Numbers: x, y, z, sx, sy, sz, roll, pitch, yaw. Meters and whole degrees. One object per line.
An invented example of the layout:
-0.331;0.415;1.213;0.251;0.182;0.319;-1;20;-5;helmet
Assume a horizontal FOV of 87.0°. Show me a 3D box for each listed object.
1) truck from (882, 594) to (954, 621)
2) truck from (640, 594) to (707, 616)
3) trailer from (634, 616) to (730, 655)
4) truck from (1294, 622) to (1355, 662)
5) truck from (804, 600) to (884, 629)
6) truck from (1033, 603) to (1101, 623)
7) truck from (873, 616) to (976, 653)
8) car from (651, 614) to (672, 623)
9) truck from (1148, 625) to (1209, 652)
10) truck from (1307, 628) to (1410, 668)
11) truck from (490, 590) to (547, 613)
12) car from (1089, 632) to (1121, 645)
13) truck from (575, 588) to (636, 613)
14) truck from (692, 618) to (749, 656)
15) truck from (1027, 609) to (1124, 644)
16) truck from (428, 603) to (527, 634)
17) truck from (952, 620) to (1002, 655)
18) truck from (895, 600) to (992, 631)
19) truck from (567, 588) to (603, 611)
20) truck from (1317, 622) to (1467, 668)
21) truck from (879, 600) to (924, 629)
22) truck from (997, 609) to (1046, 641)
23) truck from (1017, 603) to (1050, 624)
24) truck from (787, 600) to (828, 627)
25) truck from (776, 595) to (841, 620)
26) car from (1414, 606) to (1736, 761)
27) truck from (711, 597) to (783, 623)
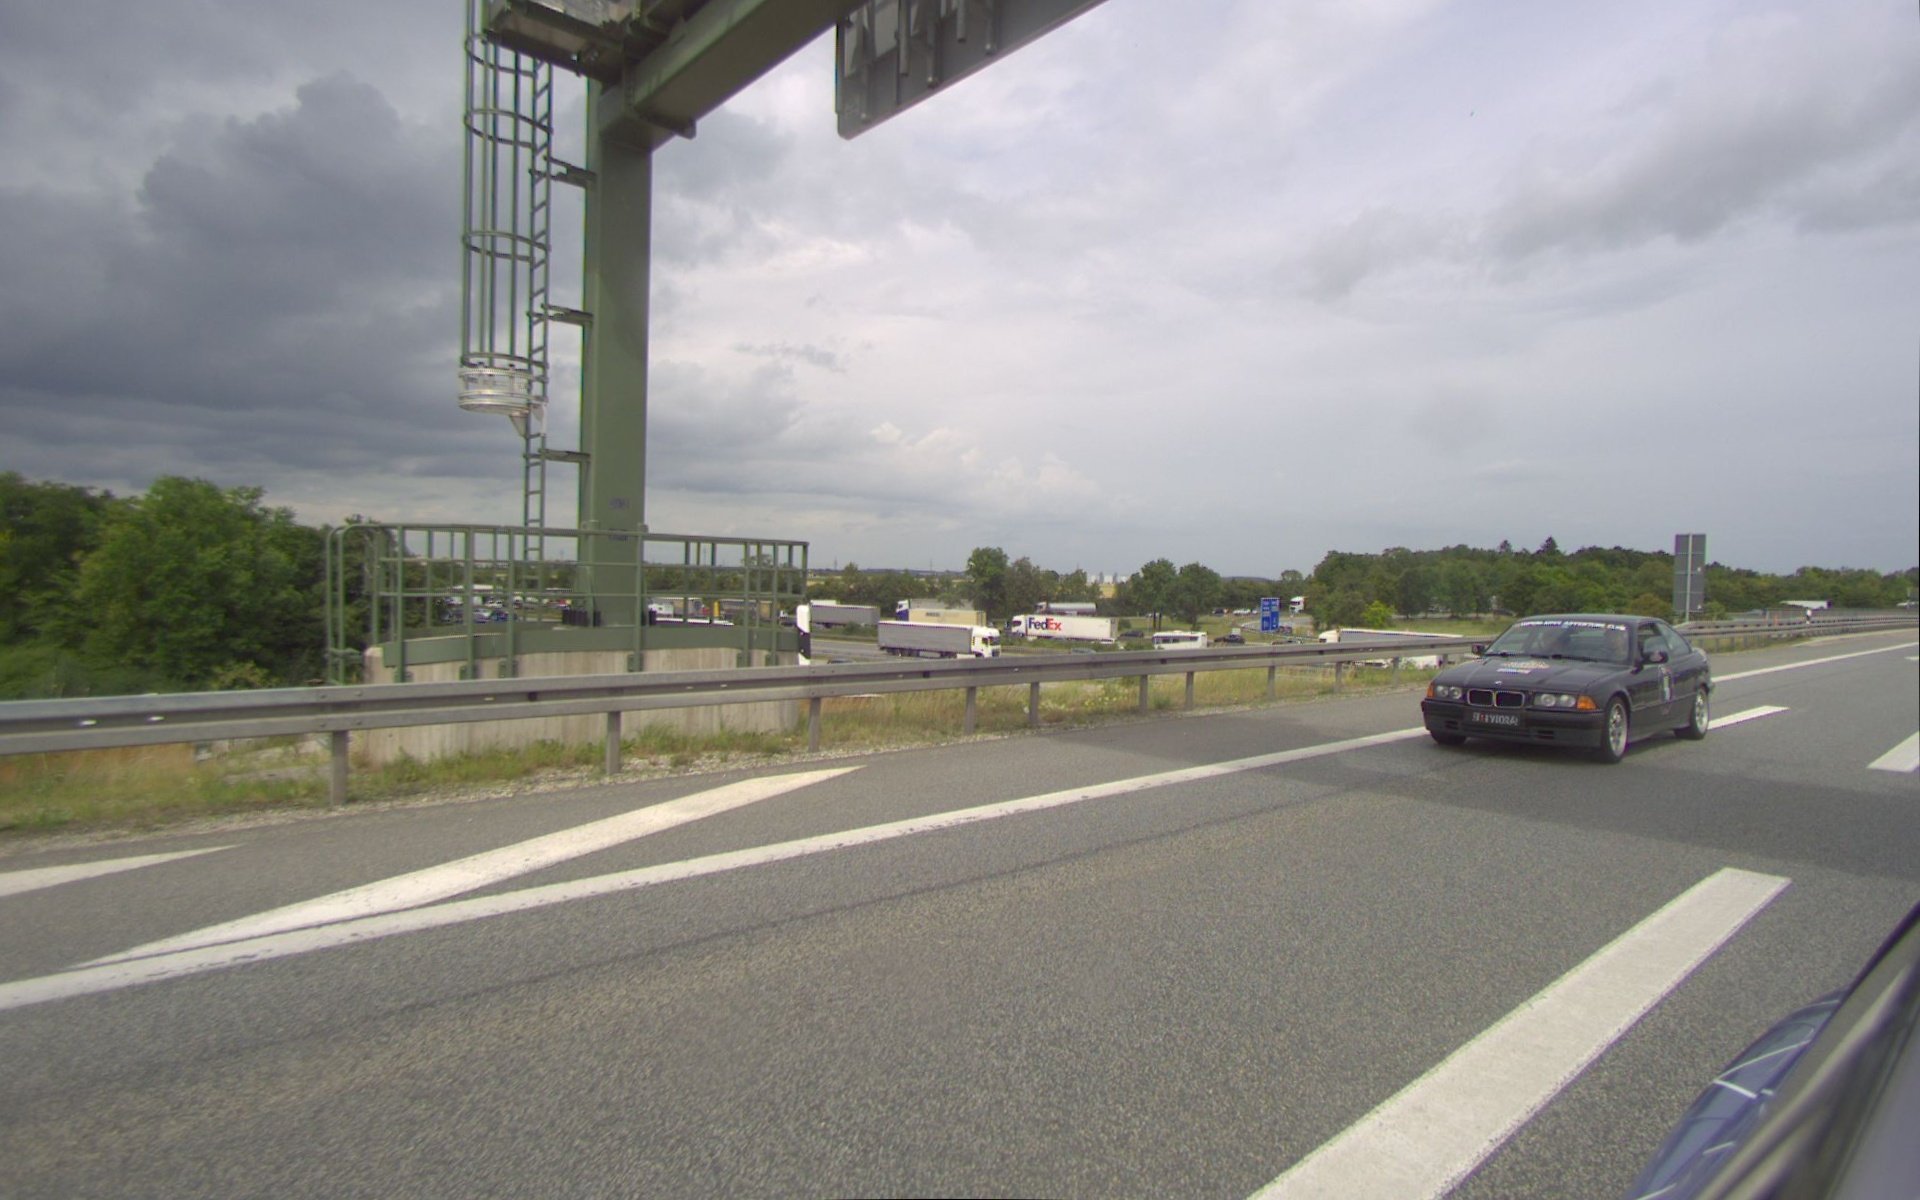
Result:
-8.610;1.626;209.158;14.570;5.281;3.862;1;-1;-1;truck
-55.658;0.941;196.418;14.800;4.083;4.090;1;-1;36;truck
-33.833;4.155;122.760;14.158;4.151;2.951;1;0;36;trailer
45.300;5.150;125.812;6.259;4.734;3.879;0;0;38;truck
-19.831;2.410;171.663;14.796;4.612;3.955;1;-1;37;truck
22.708;2.825;215.094;14.422;4.142;3.092;1;-1;-21;truck
-4.305;3.975;118.962;13.047;3.725;2.467;2;0;34;truck
-54.499;3.350;184.890;3.976;1.505;1.715;1;0;36;car
28.415;4.913;131.590;7.520;3.237;2.203;1;-1;36;truck
46.029;5.418;116.964;10.702;4.123;3.203;1;-1;33;truck
-97.185;0.260;222.409;15.250;4.882;4.035;1;-1;35;truck
19.798;5.270;138.108;3.975;1.575;1.651;2;1;36;car
-72.985;0.052;207.999;14.385;4.882;4.037;1;-1;34;truck
-28.144;4.276;118.697;6.488;4.151;2.952;1;0;35;truck
16.557;3.767;145.899;13.702;4.612;3.957;1;-1;35;truck
-71.050;2.579;148.677;18.907;4.111;3.947;1;0;33;truck
1.940;4.221;114.797;5.130;3.725;2.467;2;0;33;truck
-2.779;2.373;160.183;16.264;4.612;3.956;1;-1;36;truck
-78.503;-0.102;211.686;6.451;4.798;4.024;1;-1;33;truck
51.479;5.273;121.021;16.078;4.759;3.942;1;0;37;truck
-9.512;2.308;165.055;6.253;4.568;3.882;0;0;36;truck
9.200;3.664;151.138;6.254;4.568;3.882;0;0;36;truck
15.441;2.817;212.414;6.307;4.240;3.169;0;0;-20;truck
-26.637;2.348;176.719;6.255;4.568;3.881;0;0;36;truck
-31.467;1.550;210.852;12.779;5.105;3.943;1;-1;7;truck
6.601;0.745;10.660;4.289;1.297;1.707;1;-1;-41;car
-39.054;1.782;185.172;15.219;4.612;3.954;1;-1;38;truck
